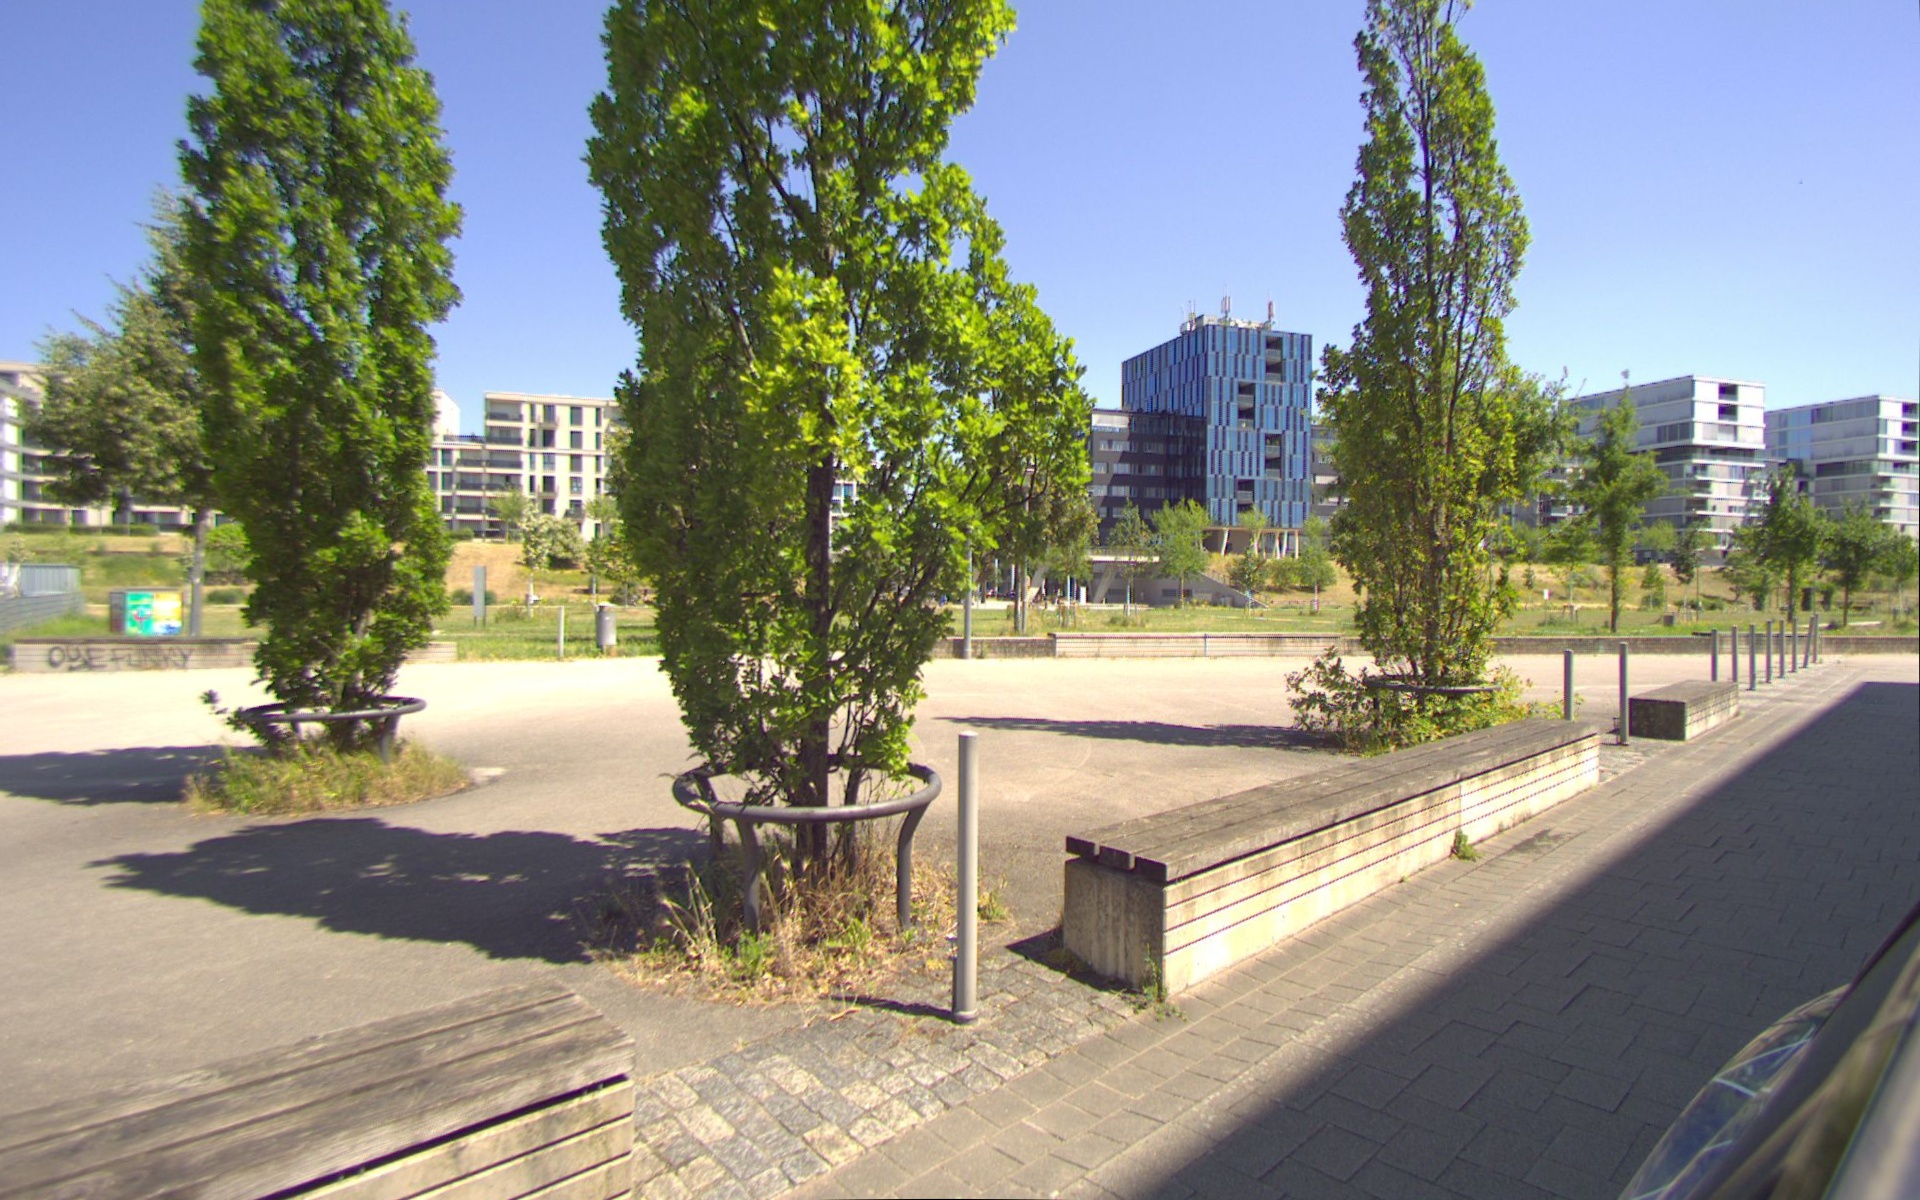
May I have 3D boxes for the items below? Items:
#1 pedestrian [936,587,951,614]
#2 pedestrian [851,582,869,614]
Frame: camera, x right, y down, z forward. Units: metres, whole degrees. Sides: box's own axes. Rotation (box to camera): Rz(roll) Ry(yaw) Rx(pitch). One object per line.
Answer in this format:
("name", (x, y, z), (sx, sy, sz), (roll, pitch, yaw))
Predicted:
("pedestrian", (-1.085, 0.008, 66.643), (0.806, 1.749, 0.610), (0, 0, 25))
("pedestrian", (-5.484, -0.095, 55.379), (0.806, 1.749, 0.610), (0, 0, 25))
